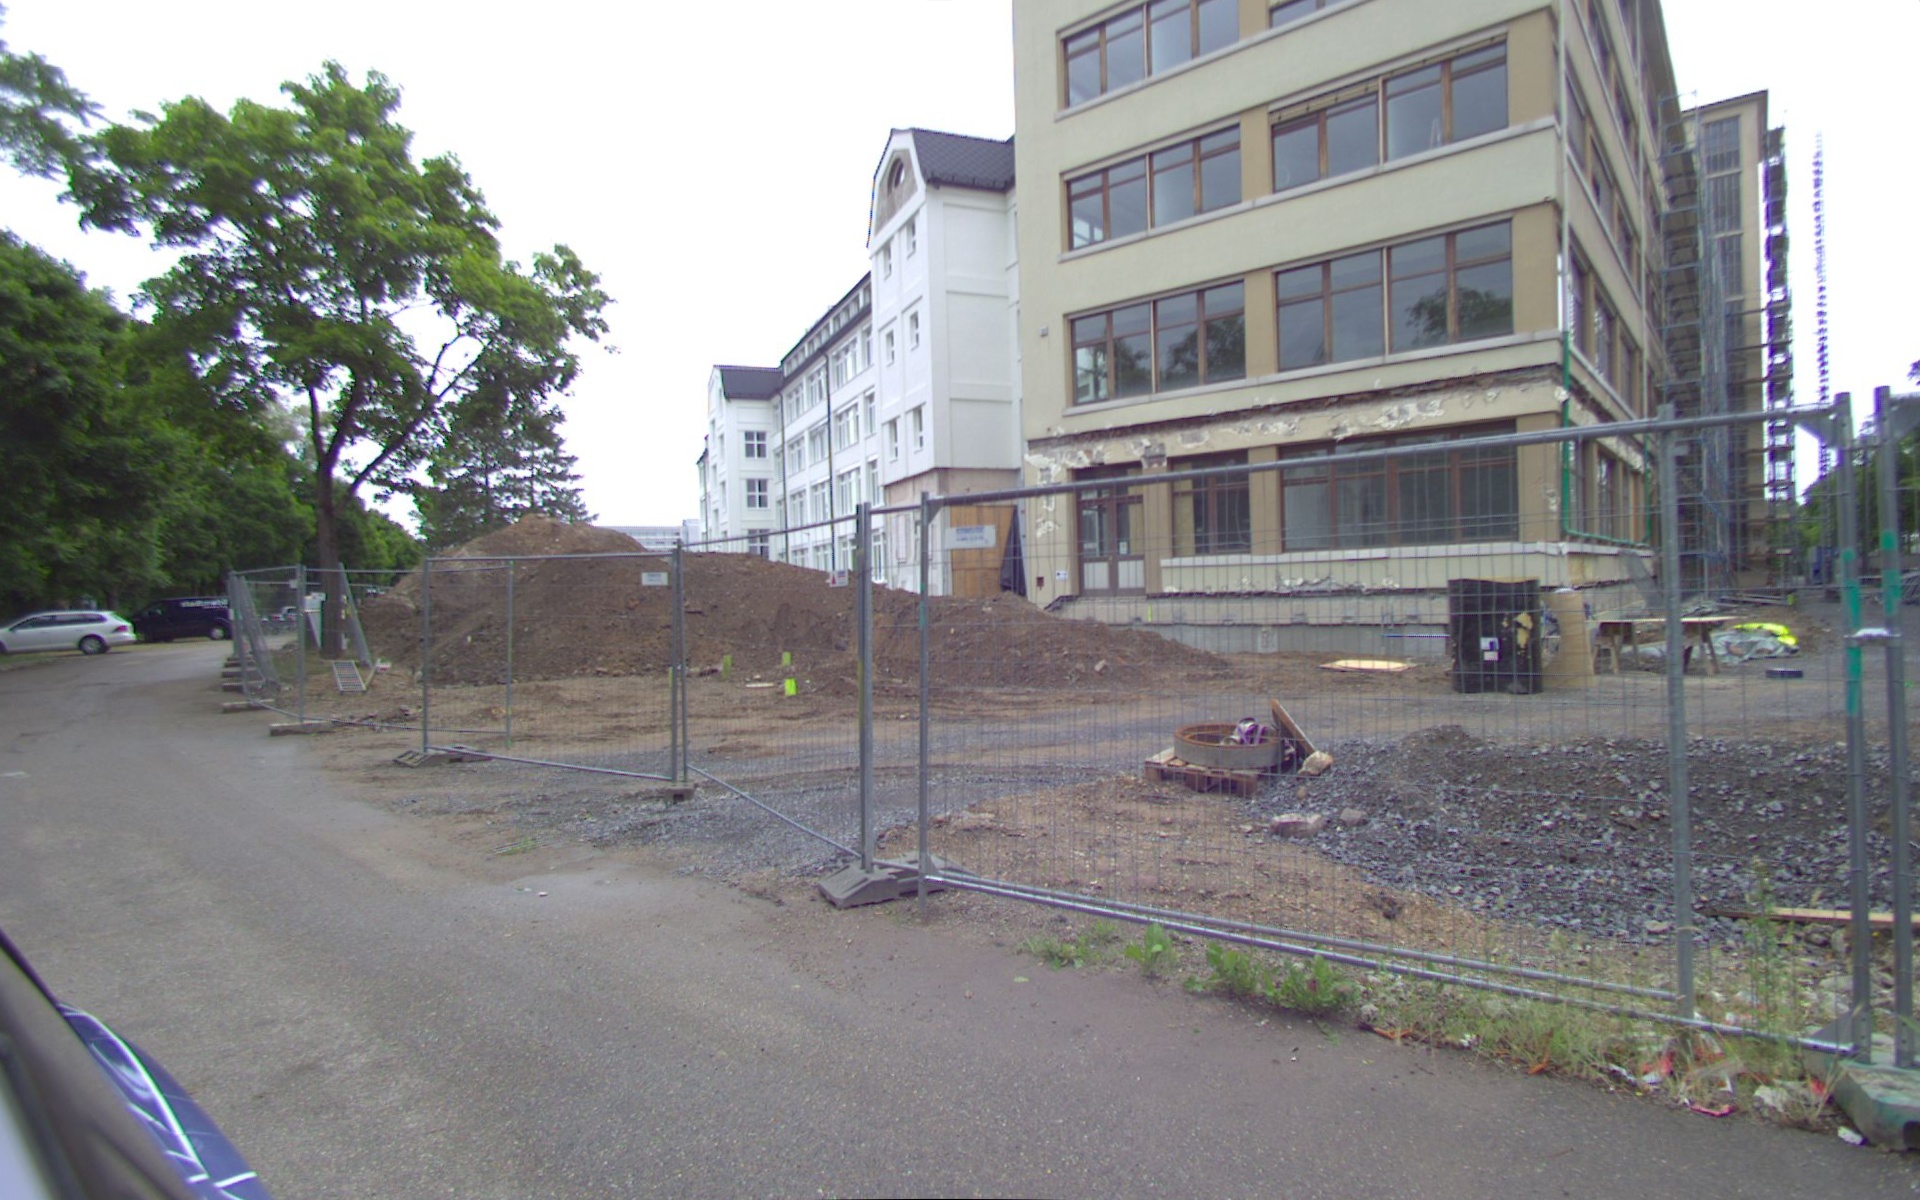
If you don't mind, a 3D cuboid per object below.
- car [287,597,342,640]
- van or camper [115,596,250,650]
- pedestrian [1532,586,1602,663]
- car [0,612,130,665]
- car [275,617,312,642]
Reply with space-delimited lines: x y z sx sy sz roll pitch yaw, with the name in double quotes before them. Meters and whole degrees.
"car" -32.669 0.908 51.300 2.089 2.029 4.012 -2 0 -29
"van or camper" -35.110 1.013 45.860 4.423 2.275 2.007 -2 0 -23
"pedestrian" 11.786 0.461 19.692 0.975 1.448 0.925 -1 0 20
"car" -30.482 1.273 34.030 3.822 1.586 1.756 -2 0 -35
"car" -46.468 2.062 70.611 1.966 1.608 4.012 -2 0 -31
